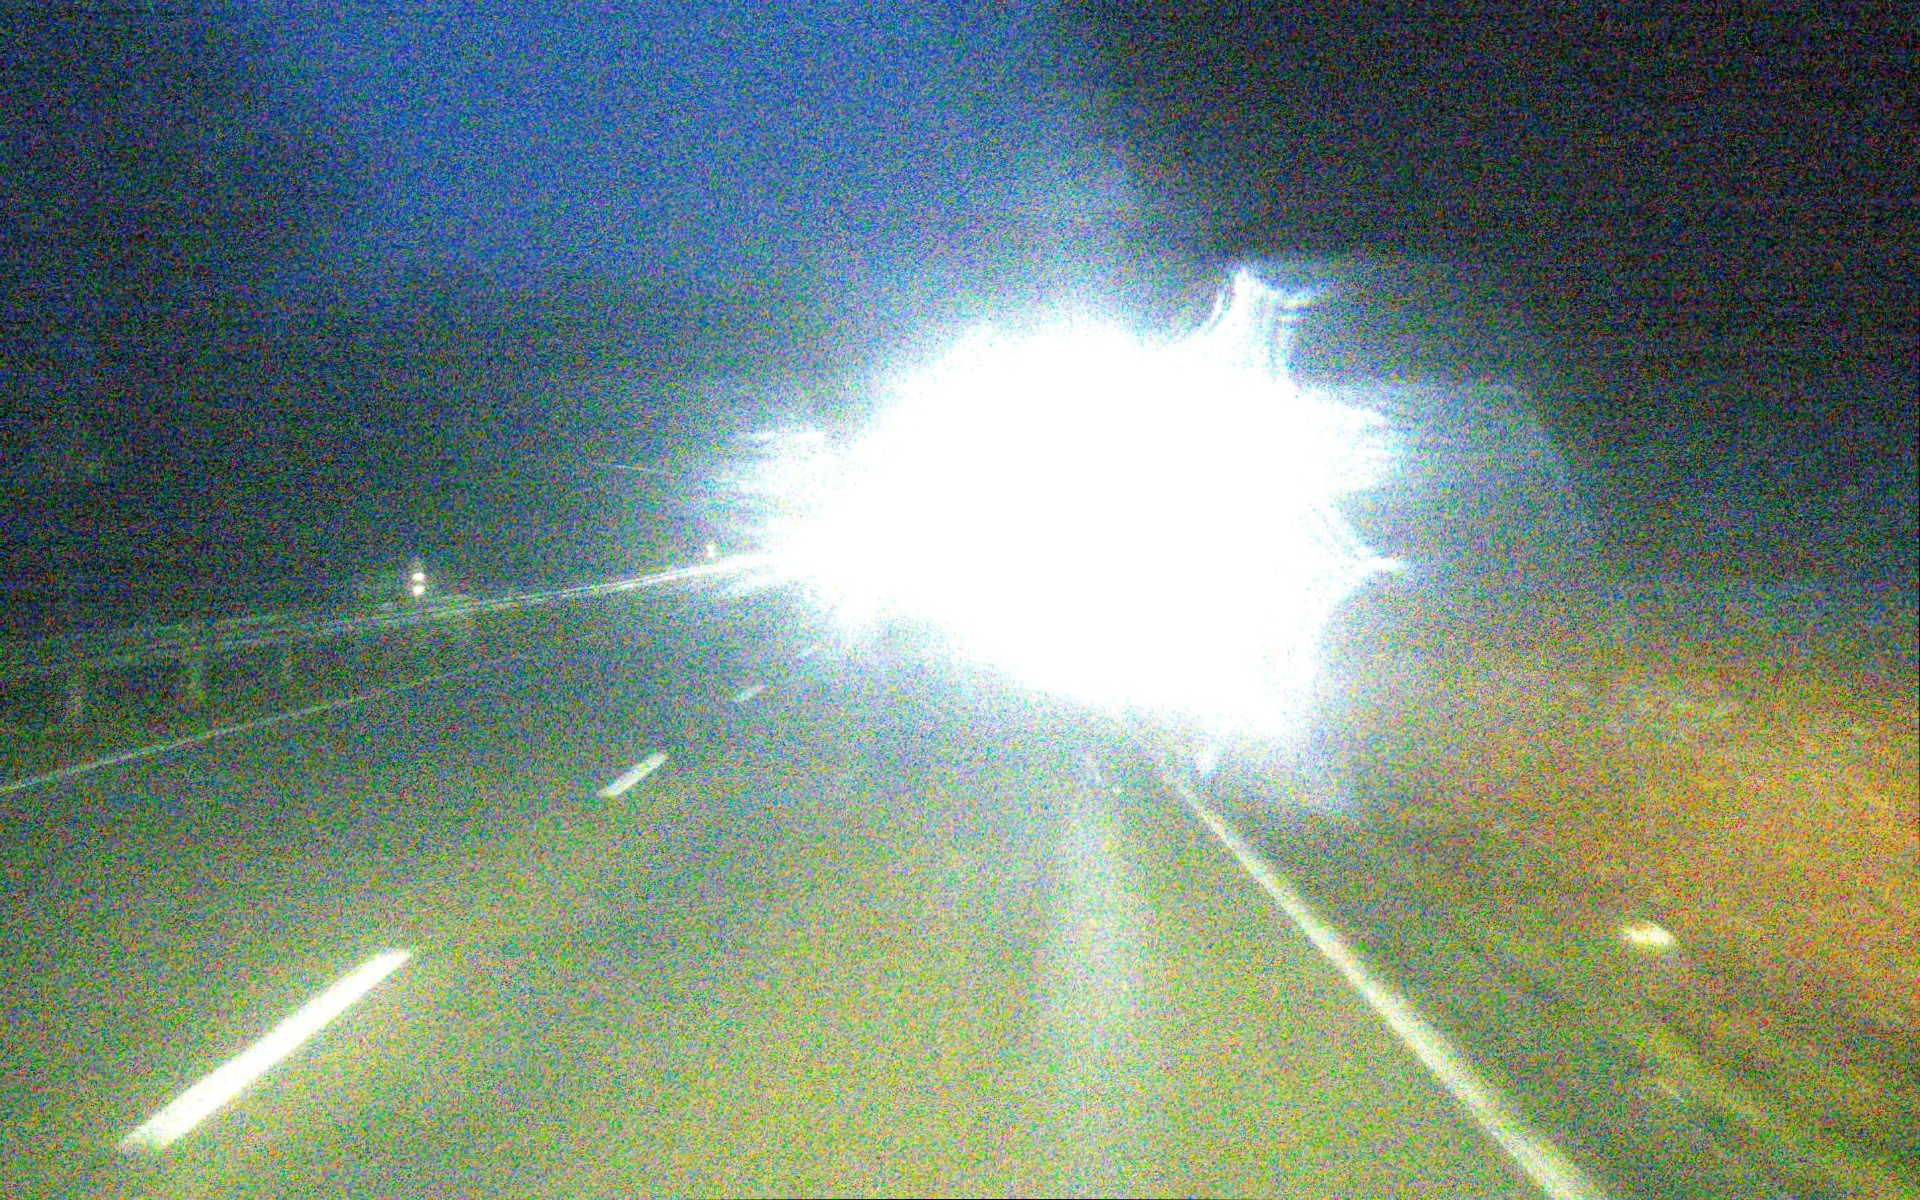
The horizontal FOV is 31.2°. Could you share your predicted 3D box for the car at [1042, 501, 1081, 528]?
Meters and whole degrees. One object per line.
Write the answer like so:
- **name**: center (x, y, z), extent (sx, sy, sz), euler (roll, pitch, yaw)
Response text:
- **car**: center (5.457, -4.586, 183.923), extent (1.994, 1.386, 3.846), euler (0, 2, 3)
